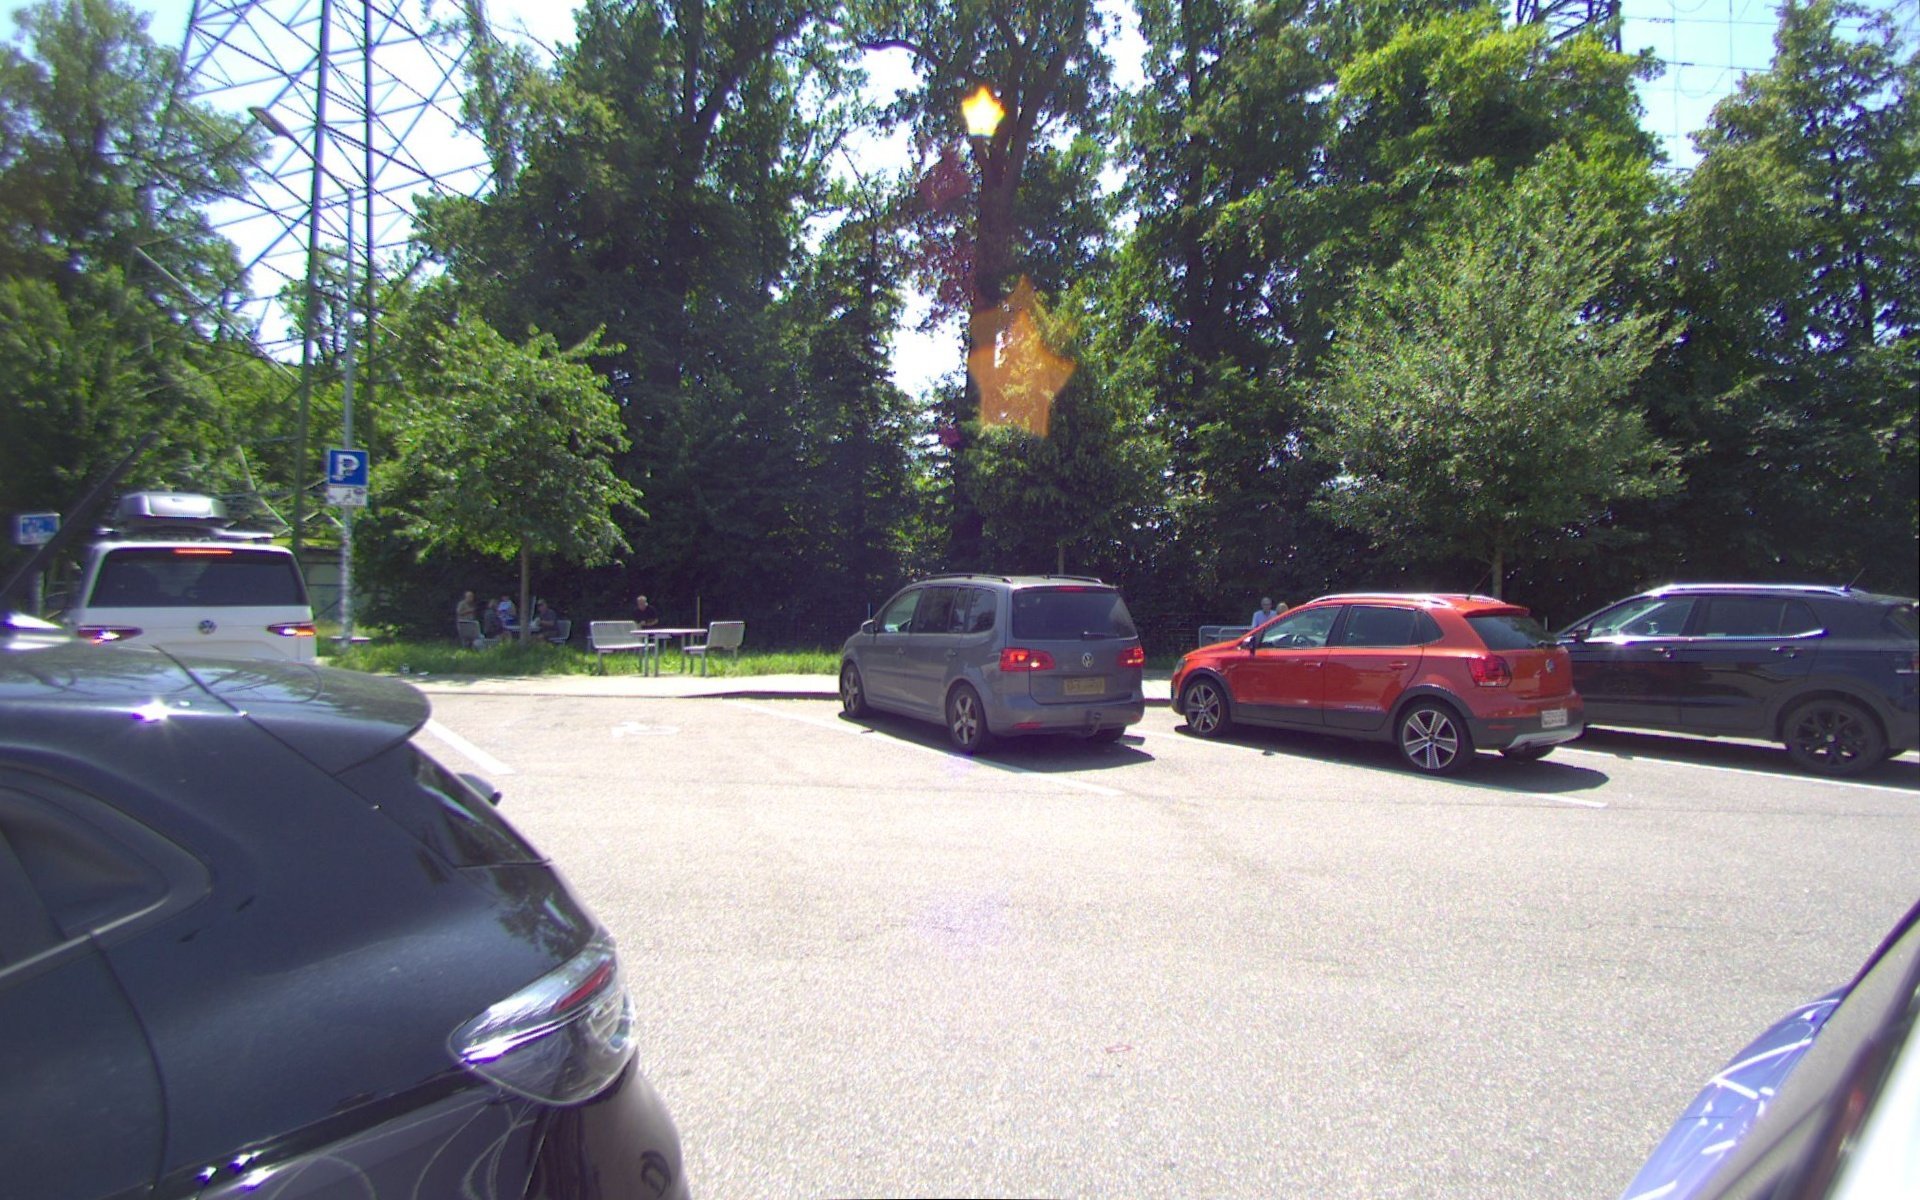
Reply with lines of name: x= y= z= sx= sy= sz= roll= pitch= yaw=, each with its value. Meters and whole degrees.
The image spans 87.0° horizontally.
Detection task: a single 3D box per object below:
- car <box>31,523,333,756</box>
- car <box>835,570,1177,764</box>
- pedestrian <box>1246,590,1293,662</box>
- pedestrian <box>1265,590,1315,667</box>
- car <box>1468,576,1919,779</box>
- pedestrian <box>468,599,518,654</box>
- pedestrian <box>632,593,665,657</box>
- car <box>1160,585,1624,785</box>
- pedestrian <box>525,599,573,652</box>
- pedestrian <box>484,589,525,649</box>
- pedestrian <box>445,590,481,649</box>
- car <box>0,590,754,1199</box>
car: x=-8.354 y=0.285 z=10.693 sx=4.549 sy=1.936 sz=1.882 roll=1 pitch=1 yaw=44
car: x=0.256 y=0.517 z=10.519 sx=1.713 sy=1.601 sz=3.996 roll=0 pitch=1 yaw=-29
pedestrian: x=5.789 y=0.474 z=18.966 sx=0.657 sy=1.311 sz=0.783 roll=0 pitch=0 yaw=3
pedestrian: x=5.784 y=0.486 z=17.769 sx=0.657 sy=1.311 sz=0.783 roll=0 pitch=0 yaw=3
car: x=7.182 y=0.575 z=9.708 sx=1.690 sy=1.593 sz=3.787 roll=0 pitch=1 yaw=-39
pedestrian: x=-10.514 y=0.586 z=22.773 sx=0.873 sy=1.192 sz=0.668 roll=0 pitch=0 yaw=-41
pedestrian: x=-6.541 y=0.519 z=21.282 sx=0.655 sy=1.311 sz=0.786 roll=0 pitch=0 yaw=-16
car: x=3.856 y=0.610 z=9.649 sx=1.687 sy=1.484 sz=3.793 roll=0 pitch=1 yaw=-32
pedestrian: x=-9.598 y=0.573 z=23.627 sx=0.873 sy=1.192 sz=0.668 roll=0 pitch=0 yaw=-41
pedestrian: x=-11.035 y=0.458 z=24.507 sx=0.664 sy=1.422 sz=0.643 roll=0 pitch=0 yaw=32
pedestrian: x=-12.155 y=0.462 z=24.735 sx=0.657 sy=1.422 sz=0.649 roll=0 pitch=0 yaw=-39
car: x=-2.201 y=0.722 z=0.600 sx=1.737 sy=1.501 sz=3.757 roll=0 pitch=0 yaw=44
